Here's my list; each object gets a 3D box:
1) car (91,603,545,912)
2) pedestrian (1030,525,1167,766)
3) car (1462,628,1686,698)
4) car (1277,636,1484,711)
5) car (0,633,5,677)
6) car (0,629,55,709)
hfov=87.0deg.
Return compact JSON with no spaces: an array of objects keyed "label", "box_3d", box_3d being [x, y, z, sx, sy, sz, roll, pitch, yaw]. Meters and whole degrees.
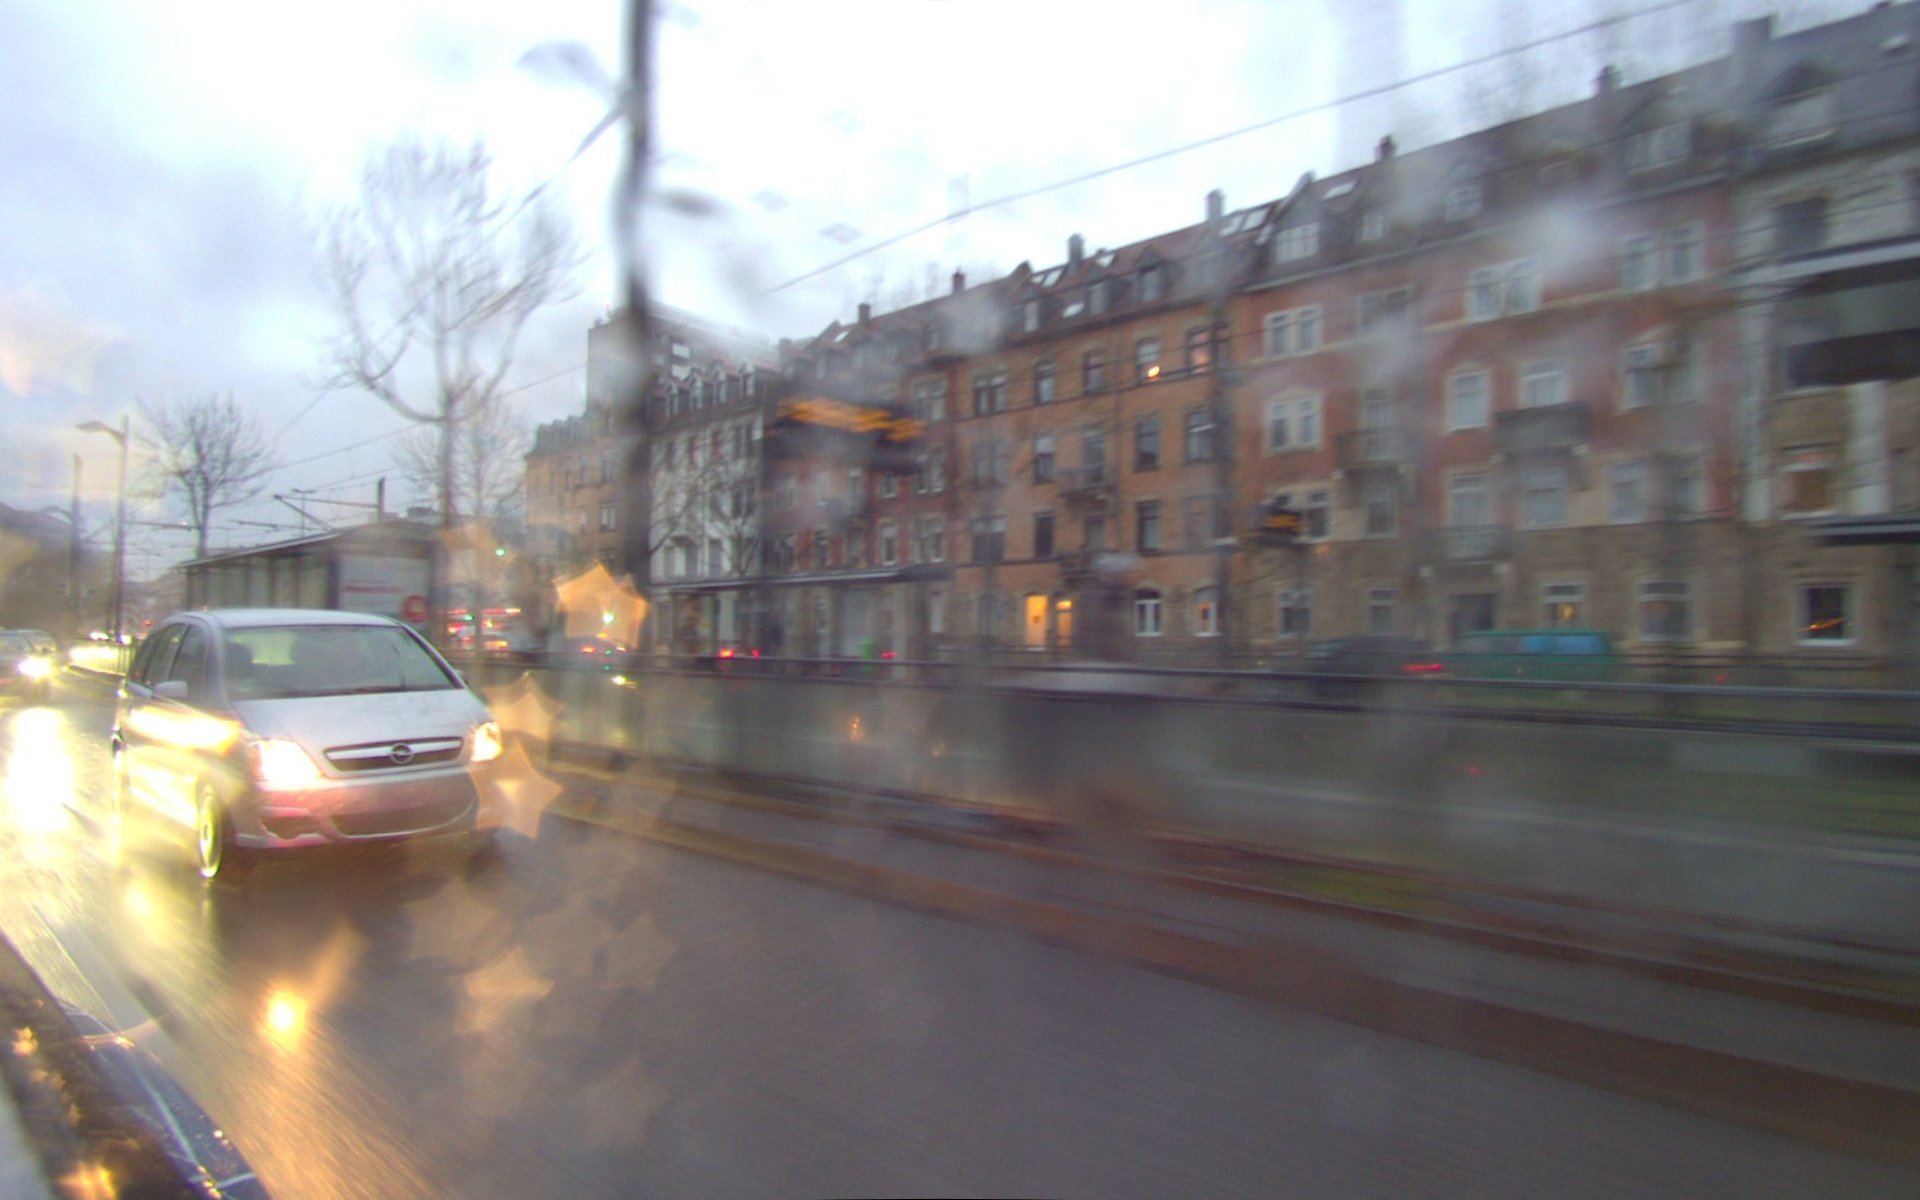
[{"label":"car","box_3d":[-4.681,0.869,7.122,4.108,1.560,1.628,-2,-3,42]},{"label":"pedestrian","box_3d":[1.001,0.314,7.301,0.744,1.618,0.705,-1,-2,33]},{"label":"car","box_3d":[15.080,1.475,24.989,4.466,1.548,1.821,-2,-2,42]},{"label":"car","box_3d":[9.664,1.649,23.438,4.000,1.564,1.971,-2,-4,43]},{"label":"car","box_3d":[-37.834,2.073,38.120,1.789,1.756,4.198,2,-4,-31]},{"label":"car","box_3d":[-20.258,1.390,20.968,3.998,1.556,1.730,-2,-4,41]}]
